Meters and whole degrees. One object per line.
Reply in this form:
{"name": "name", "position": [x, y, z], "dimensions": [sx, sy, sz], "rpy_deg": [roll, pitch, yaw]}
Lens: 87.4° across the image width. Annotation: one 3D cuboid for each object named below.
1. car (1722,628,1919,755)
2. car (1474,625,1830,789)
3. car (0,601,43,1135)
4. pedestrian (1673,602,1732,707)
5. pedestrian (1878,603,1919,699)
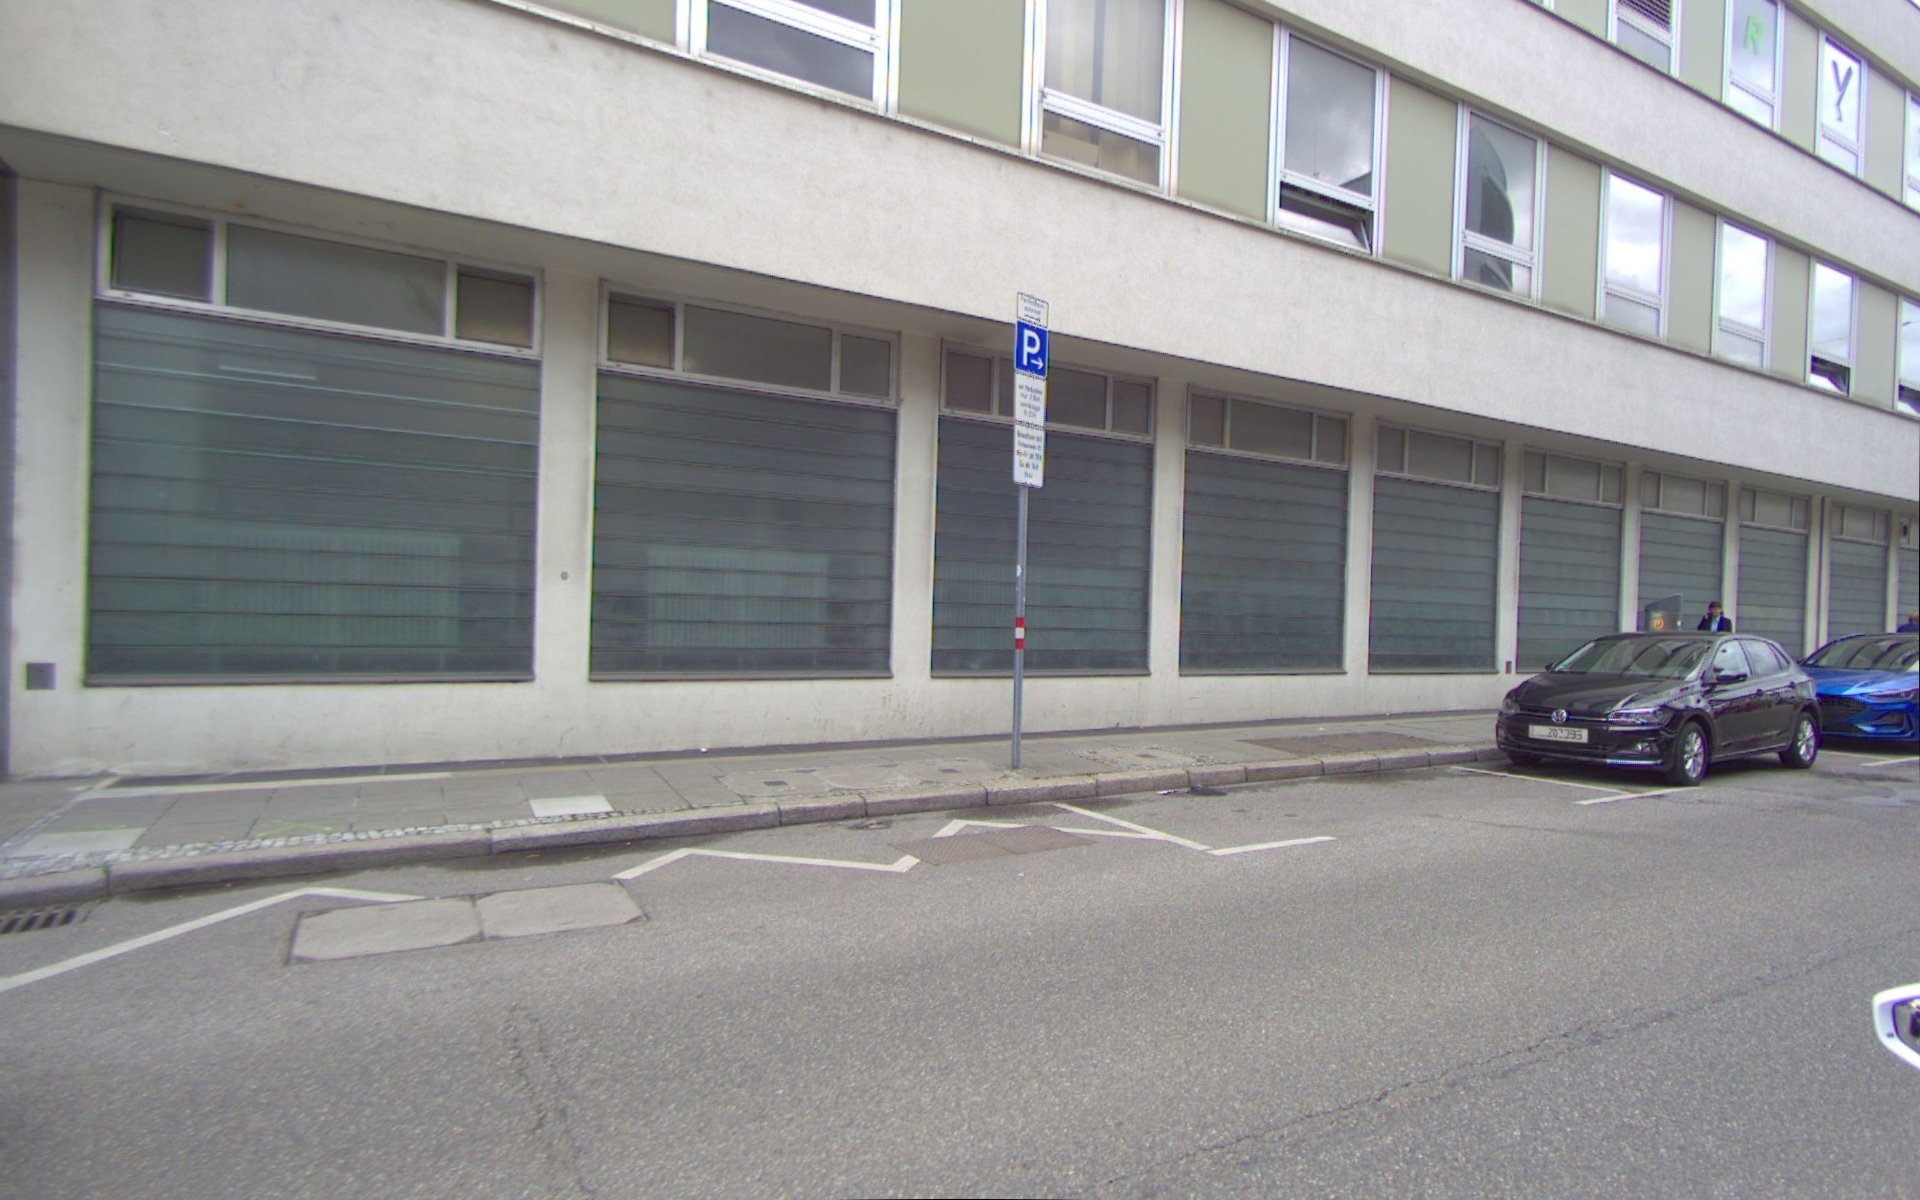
{"name": "car", "position": [12.323, 1.122, 13.369], "dimensions": [4.208, 1.444, 1.809], "rpy_deg": [1, -1, -26]}
{"name": "car", "position": [7.386, 1.008, 10.660], "dimensions": [3.826, 1.444, 1.708], "rpy_deg": [1, -1, -31]}
{"name": "car", "position": [-4.449, 0.653, 1.380], "dimensions": [4.381, 1.417, 1.652], "rpy_deg": [2, 0, -16]}
{"name": "pedestrian", "position": [12.685, 0.922, 17.164], "dimensions": [0.642, 1.741, 0.586], "rpy_deg": [1, 0, -31]}
{"name": "pedestrian", "position": [17.763, 0.943, 18.777], "dimensions": [1.043, 1.741, 0.586], "rpy_deg": [1, 0, -31]}
